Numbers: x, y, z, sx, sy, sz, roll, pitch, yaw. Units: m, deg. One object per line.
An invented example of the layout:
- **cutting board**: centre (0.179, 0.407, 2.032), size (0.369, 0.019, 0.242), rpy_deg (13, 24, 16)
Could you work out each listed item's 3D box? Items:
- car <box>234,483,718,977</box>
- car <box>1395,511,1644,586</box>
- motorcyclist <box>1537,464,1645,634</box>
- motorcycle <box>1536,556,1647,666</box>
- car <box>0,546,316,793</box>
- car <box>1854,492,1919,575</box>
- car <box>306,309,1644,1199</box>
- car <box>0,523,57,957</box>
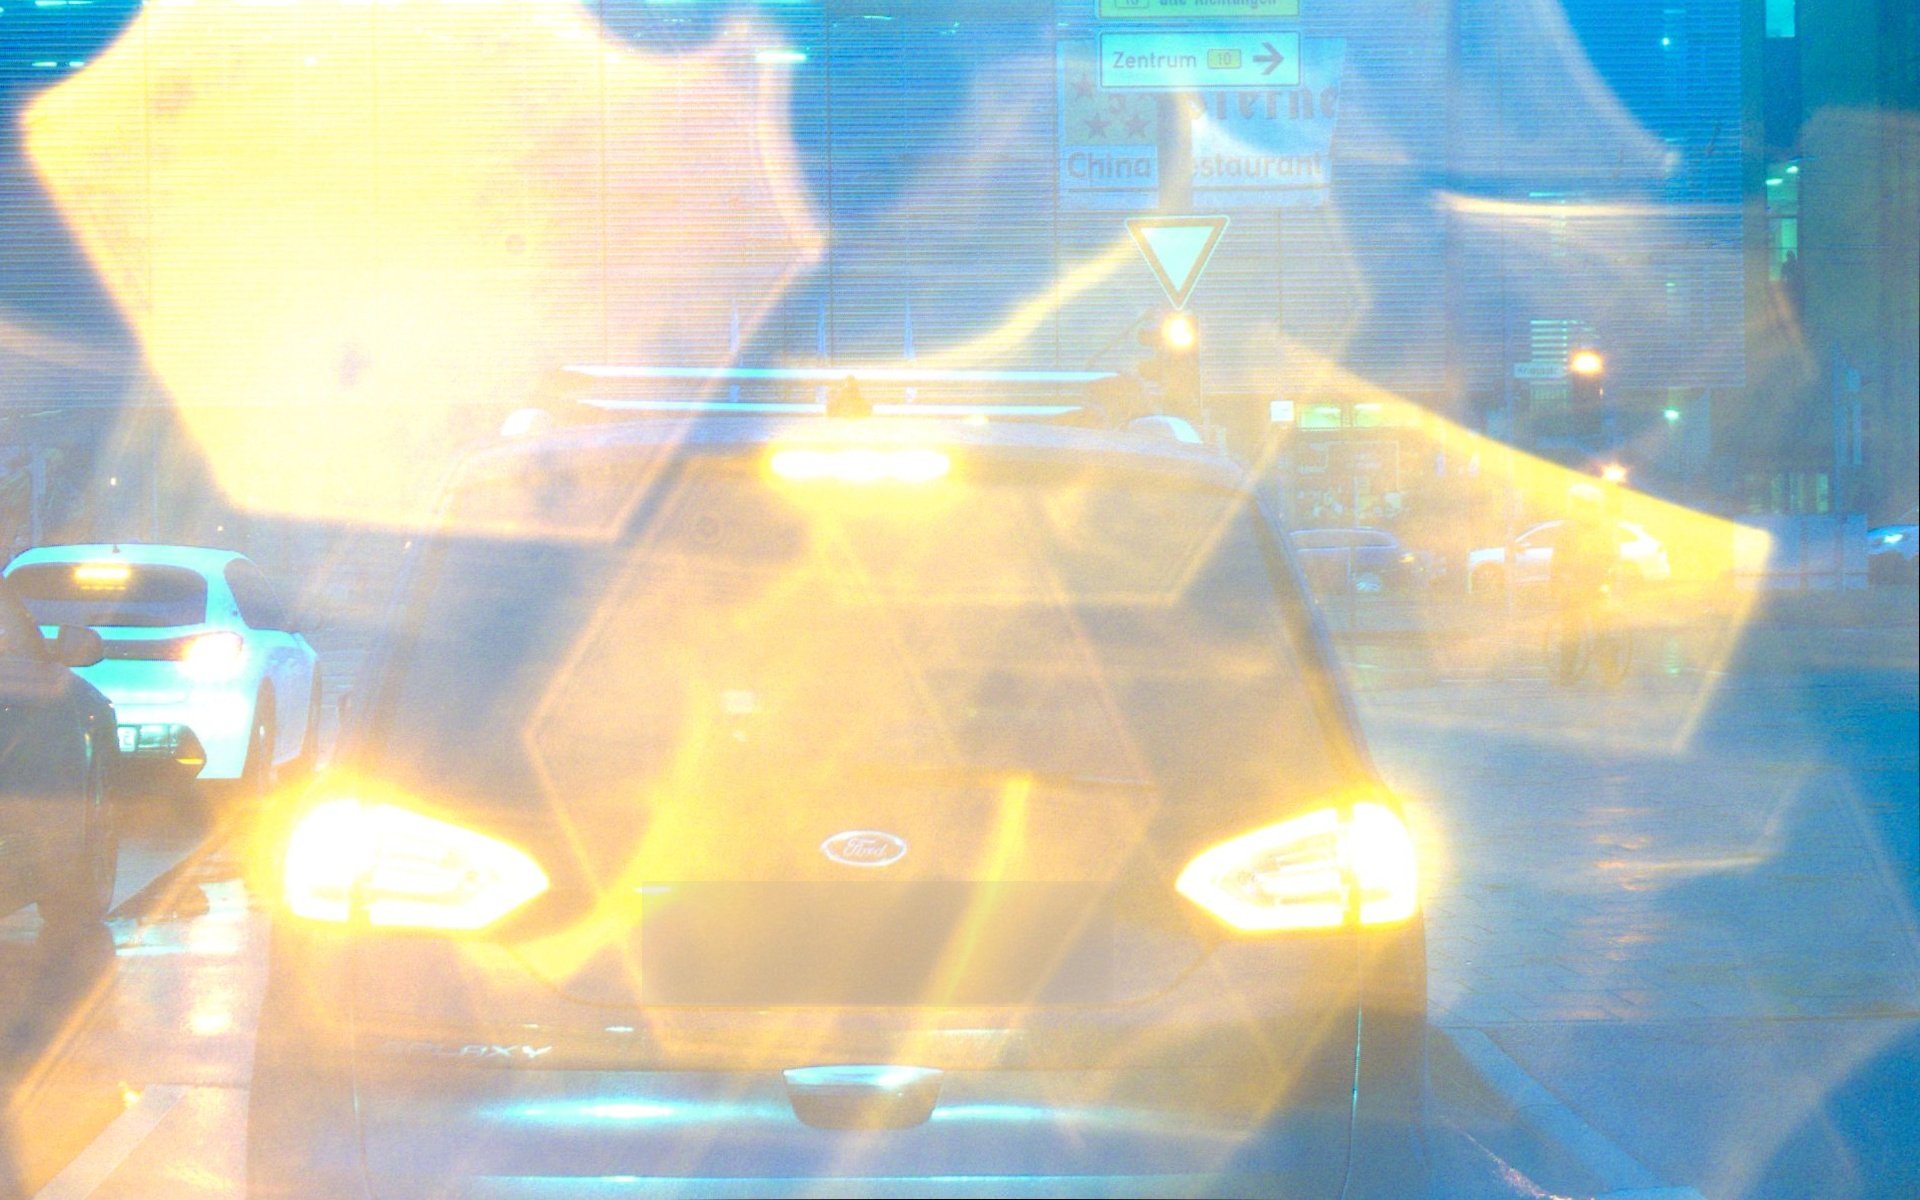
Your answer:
- **car**: centre (-1.818, 0.425, 13.654), size (1.636, 1.691, 3.671), rpy_deg (1, 1, -5)
- **car**: centre (10.799, -1.000, 66.490), size (4.418, 1.385, 1.800), rpy_deg (-1, 1, -7)
- **motorcyclist**: centre (5.800, -0.474, 31.658), size (0.868, 1.529, 1.108), rpy_deg (0, 1, 5)
- **motorcycle**: centre (5.800, 0.091, 31.653), size (0.853, 0.968, 1.581), rpy_deg (0, 1, 5)
- **car**: centre (-4.535, 0.319, 19.539), size (1.540, 1.247, 4.069), rpy_deg (0, 1, -8)
- **car**: centre (19.878, -1.311, 66.919), size (4.418, 1.589, 1.800), rpy_deg (-1, 1, -7)
- **car**: centre (-0.087, 0.463, 6.671), size (1.735, 1.732, 4.247), rpy_deg (2, 1, -3)
- **car**: centre (-4.281, 0.530, 11.467), size (1.752, 1.568, 4.001), rpy_deg (-1, 1, -4)
